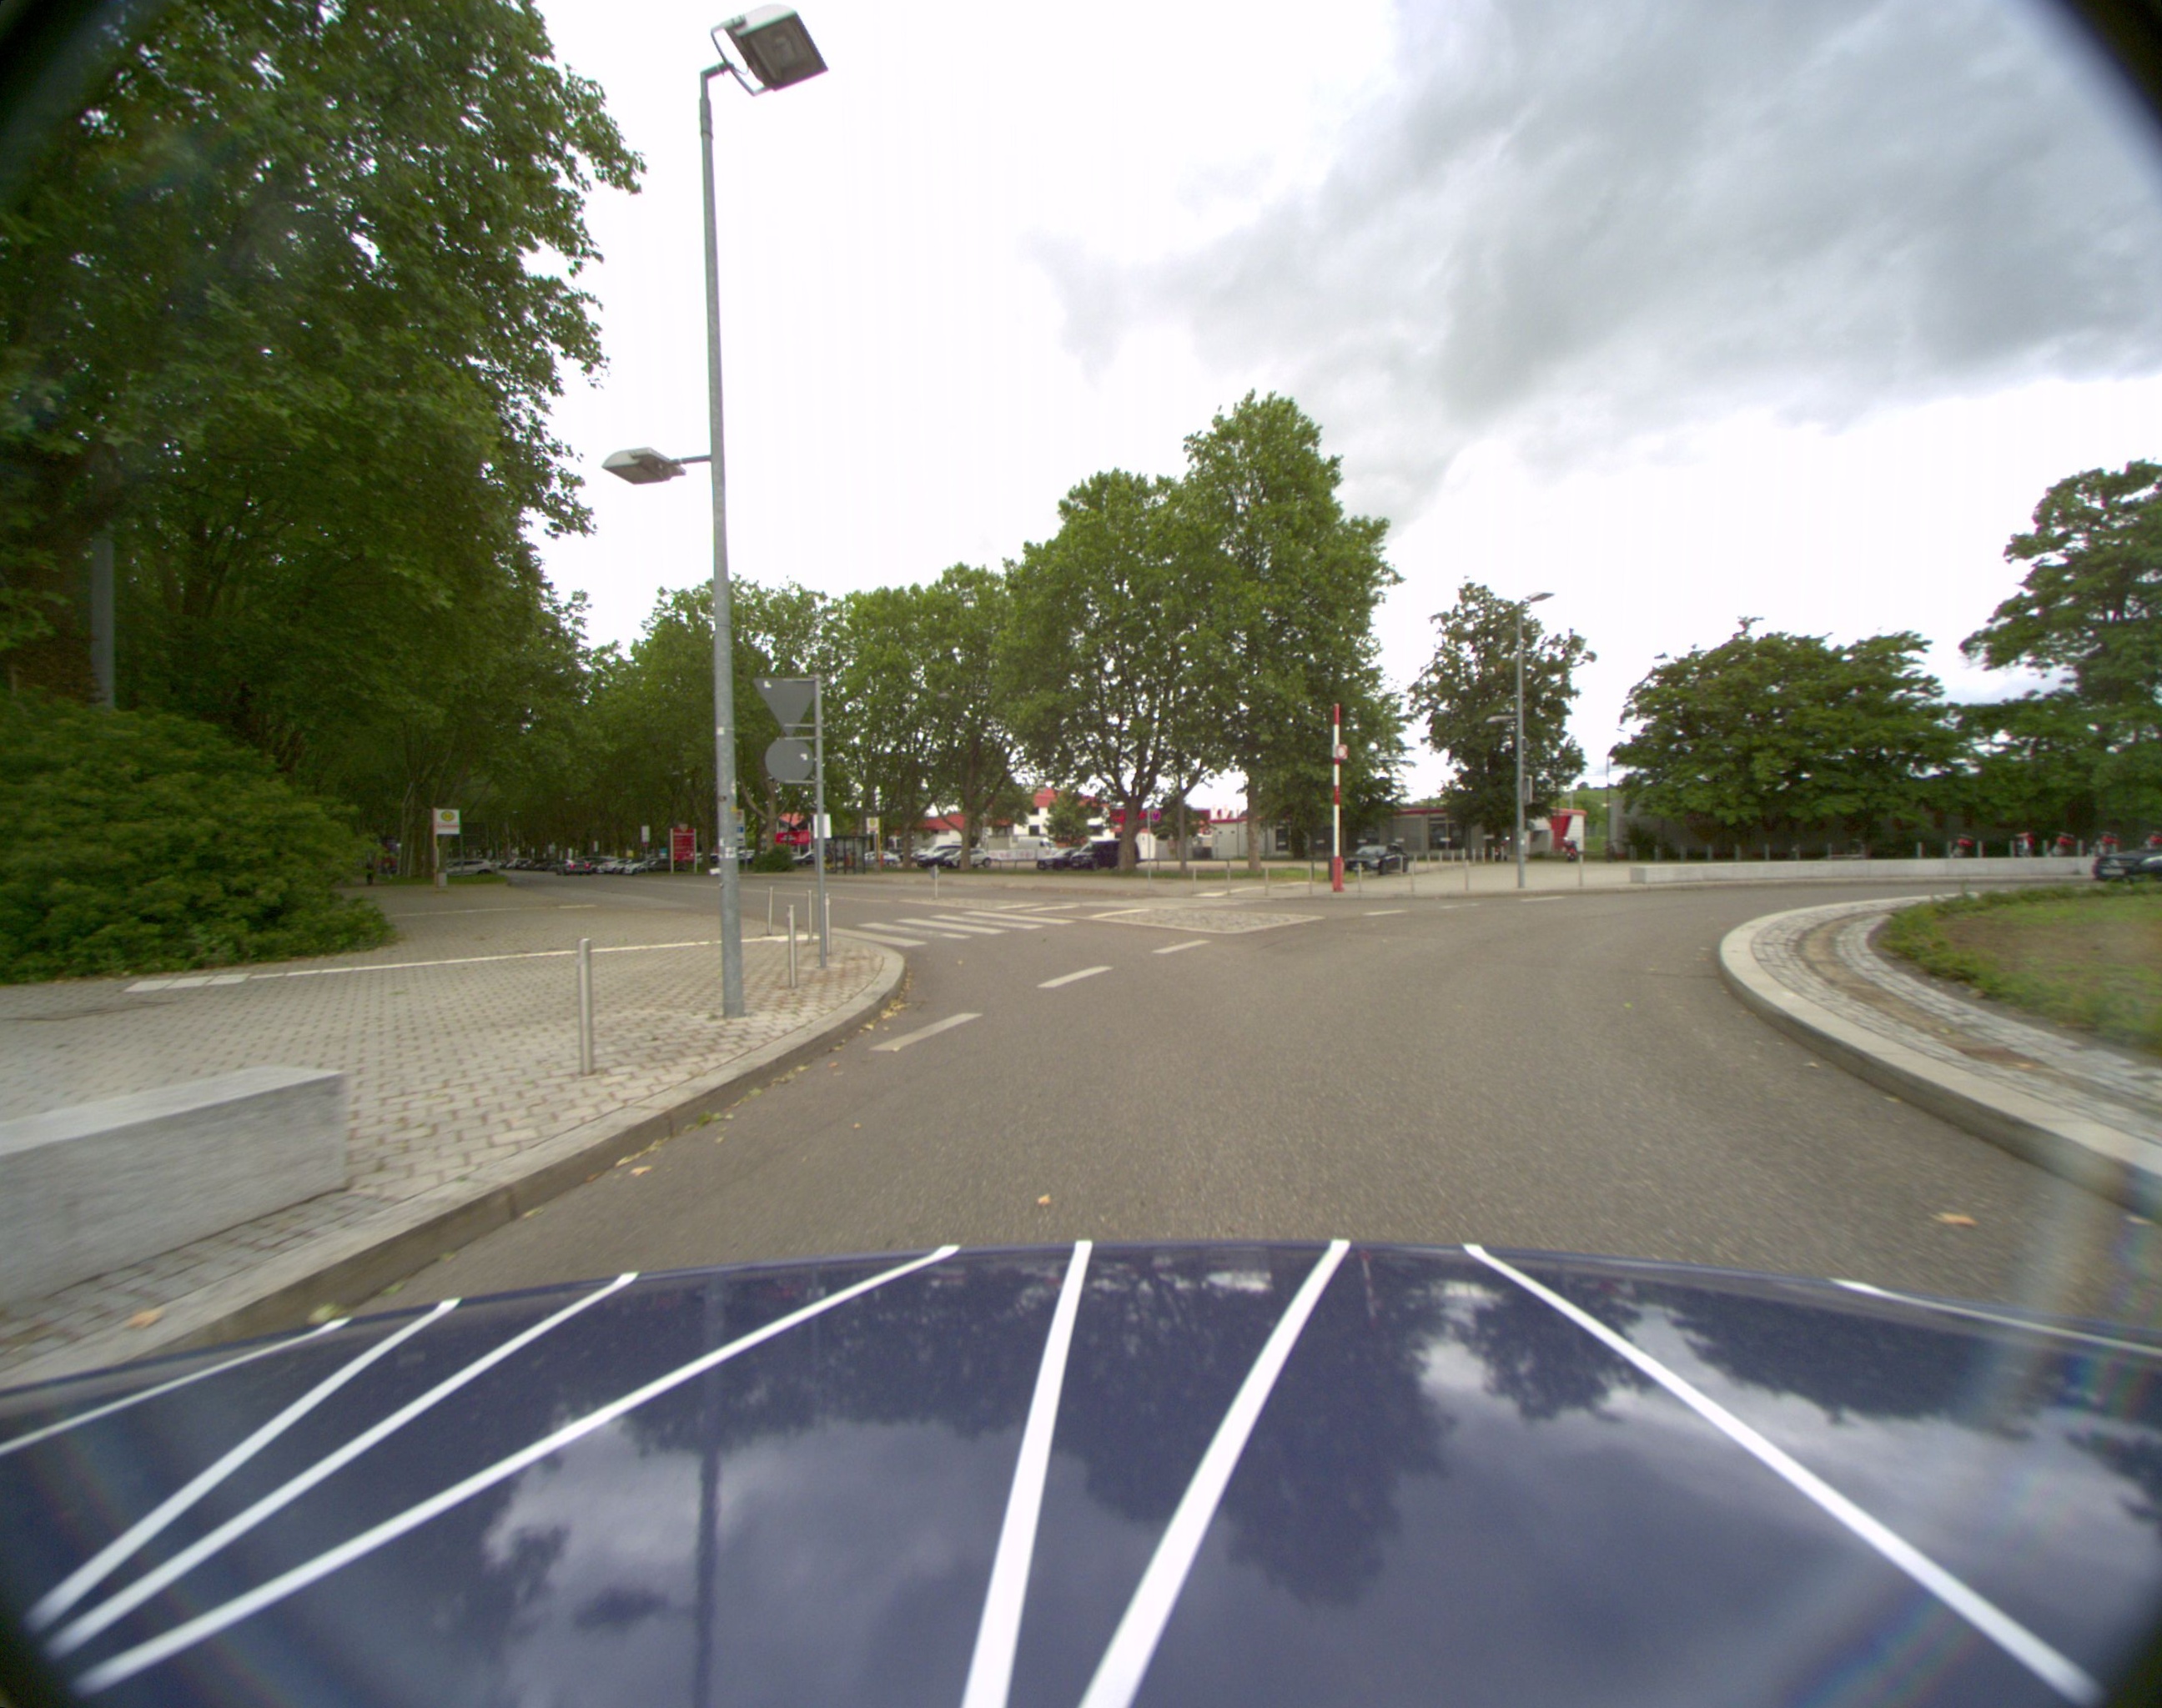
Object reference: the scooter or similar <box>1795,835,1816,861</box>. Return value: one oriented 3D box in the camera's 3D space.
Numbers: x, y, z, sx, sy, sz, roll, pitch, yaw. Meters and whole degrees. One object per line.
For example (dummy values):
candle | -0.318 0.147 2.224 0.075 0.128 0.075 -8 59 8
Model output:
scooter or similar | 32.114 -0.271 33.710 0.638 1.103 1.979 -1 1 43

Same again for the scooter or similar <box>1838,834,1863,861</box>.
scooter or similar | 33.197 -0.291 32.788 0.638 1.103 1.979 -1 1 43

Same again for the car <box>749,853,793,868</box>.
car | -33.787 0.693 82.894 4.014 1.510 1.867 -3 1 -36

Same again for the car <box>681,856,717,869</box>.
car | -51.368 1.128 102.299 4.014 1.510 1.867 -3 1 -37

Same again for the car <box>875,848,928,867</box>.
car | -15.462 0.308 65.609 4.014 1.510 1.867 -3 1 -37

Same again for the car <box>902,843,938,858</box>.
car | -19.618 -0.408 92.850 1.791 1.642 3.964 -1 1 43

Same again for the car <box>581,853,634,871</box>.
car | -50.092 0.851 80.379 4.445 1.642 1.792 -3 1 -42

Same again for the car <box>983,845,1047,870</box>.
car | -4.611 0.234 53.059 4.014 1.510 1.867 -3 1 -37

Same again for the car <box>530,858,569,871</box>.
car | -68.595 1.304 98.074 4.014 1.510 1.867 -3 1 -37

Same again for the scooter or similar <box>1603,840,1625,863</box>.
scooter or similar | 27.189 -0.127 38.776 0.638 1.103 1.979 -1 1 43

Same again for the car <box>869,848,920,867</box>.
car | -16.862 0.327 68.750 4.014 1.510 1.867 -3 1 -37

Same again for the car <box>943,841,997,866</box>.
car | -8.605 -0.036 59.084 3.718 1.767 1.666 -3 1 -41

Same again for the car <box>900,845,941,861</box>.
car | -17.490 -0.133 82.860 1.866 1.510 4.015 -1 1 44

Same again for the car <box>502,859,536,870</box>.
car | -85.378 1.542 115.447 4.014 1.510 1.867 -3 1 -37

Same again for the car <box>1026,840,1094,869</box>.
car | -1.348 0.009 50.082 2.006 1.718 4.299 -1 1 44

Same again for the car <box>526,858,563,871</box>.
car | -73.237 1.420 103.657 4.014 1.510 1.867 -3 1 -37

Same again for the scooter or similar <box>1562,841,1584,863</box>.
scooter or similar | 26.053 -0.099 40.240 0.638 1.103 1.979 -1 1 43

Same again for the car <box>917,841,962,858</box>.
car | -14.964 -0.472 80.553 1.791 1.642 4.445 -1 1 43

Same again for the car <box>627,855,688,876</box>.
car | -35.635 0.962 64.008 4.184 1.510 1.867 -3 1 -37

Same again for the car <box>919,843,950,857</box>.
car | -18.781 -0.515 97.338 3.945 1.710 1.800 -2 1 43

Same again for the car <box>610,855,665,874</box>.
car | -40.236 0.962 68.966 4.014 1.510 1.867 -3 1 -37

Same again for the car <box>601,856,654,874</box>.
car | -42.291 1.020 70.874 4.014 1.510 1.867 -3 1 -37

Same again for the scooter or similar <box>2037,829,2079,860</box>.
scooter or similar | 36.230 -0.356 28.182 0.638 1.103 1.979 -1 1 43

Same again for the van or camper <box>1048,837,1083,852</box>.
van or camper | -1.953 -1.225 97.145 4.424 1.778 1.800 -2 1 43

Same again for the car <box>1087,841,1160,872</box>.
car | 2.596 0.140 45.780 2.006 1.718 4.299 -1 1 44

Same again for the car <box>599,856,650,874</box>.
car | -43.840 1.056 72.964 4.014 1.510 1.867 -3 1 -37

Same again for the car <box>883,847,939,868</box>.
car | -13.992 0.286 62.467 4.014 1.510 1.867 -3 1 -37

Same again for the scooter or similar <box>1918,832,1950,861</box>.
scooter or similar | 34.185 -0.312 30.464 0.638 1.098 1.979 -1 1 43

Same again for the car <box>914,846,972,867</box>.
car | -10.912 0.194 60.139 4.014 1.510 1.867 -3 1 -39

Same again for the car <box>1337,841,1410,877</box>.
car | 13.656 0.202 35.348 1.774 1.516 3.833 -1 1 44

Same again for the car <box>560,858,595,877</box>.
car | -43.755 1.131 66.010 2.109 1.510 4.594 -3 1 -39

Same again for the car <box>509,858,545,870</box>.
car | -80.272 1.489 110.104 4.014 1.510 1.867 -3 1 -37

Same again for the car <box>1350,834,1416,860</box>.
car | 20.253 -0.465 51.159 1.798 1.642 4.430 -2 1 -16

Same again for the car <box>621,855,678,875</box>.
car | -37.234 0.947 65.647 4.014 1.510 1.867 -3 1 -37

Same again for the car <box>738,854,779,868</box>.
car | -37.537 0.825 88.540 4.014 1.510 1.867 -3 1 -36

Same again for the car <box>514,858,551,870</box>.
car | -77.069 1.428 106.773 4.014 1.510 1.867 -3 1 -37

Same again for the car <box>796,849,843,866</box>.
car | -26.253 0.351 76.378 4.014 1.510 1.867 -3 1 -36

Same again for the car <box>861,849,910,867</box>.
car | -18.358 0.354 71.506 4.014 1.510 1.867 -3 1 -37

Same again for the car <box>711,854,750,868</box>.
car | -42.804 0.899 92.833 4.014 1.510 1.867 -3 1 -36

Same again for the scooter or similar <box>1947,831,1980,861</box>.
scooter or similar | 34.746 -0.322 29.932 0.638 1.103 1.979 -1 1 43

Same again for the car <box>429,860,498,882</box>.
car | -48.045 1.279 59.153 4.015 1.510 1.866 -3 1 -43

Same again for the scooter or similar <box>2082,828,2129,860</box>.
scooter or similar | 36.928 -0.374 27.409 0.638 1.103 1.979 -1 1 43

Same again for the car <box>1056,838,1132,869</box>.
car | 0.863 -0.054 48.113 2.006 1.718 4.821 -1 1 44

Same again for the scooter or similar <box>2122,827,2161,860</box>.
scooter or similar | 37.563 -0.392 26.788 0.638 1.103 1.979 -1 1 43

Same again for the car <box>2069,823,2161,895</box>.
car | 26.307 0.038 17.110 4.718 1.555 1.799 -2 1 20

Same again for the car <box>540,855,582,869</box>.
car | -62.831 0.924 91.810 4.014 1.510 1.867 -3 1 -37

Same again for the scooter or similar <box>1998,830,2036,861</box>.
scooter or similar | 35.516 -0.336 28.840 0.638 1.103 1.979 -1 1 43

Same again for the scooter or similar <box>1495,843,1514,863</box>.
scooter or similar | 24.107 -0.062 43.246 0.544 1.088 1.813 -1 1 43
